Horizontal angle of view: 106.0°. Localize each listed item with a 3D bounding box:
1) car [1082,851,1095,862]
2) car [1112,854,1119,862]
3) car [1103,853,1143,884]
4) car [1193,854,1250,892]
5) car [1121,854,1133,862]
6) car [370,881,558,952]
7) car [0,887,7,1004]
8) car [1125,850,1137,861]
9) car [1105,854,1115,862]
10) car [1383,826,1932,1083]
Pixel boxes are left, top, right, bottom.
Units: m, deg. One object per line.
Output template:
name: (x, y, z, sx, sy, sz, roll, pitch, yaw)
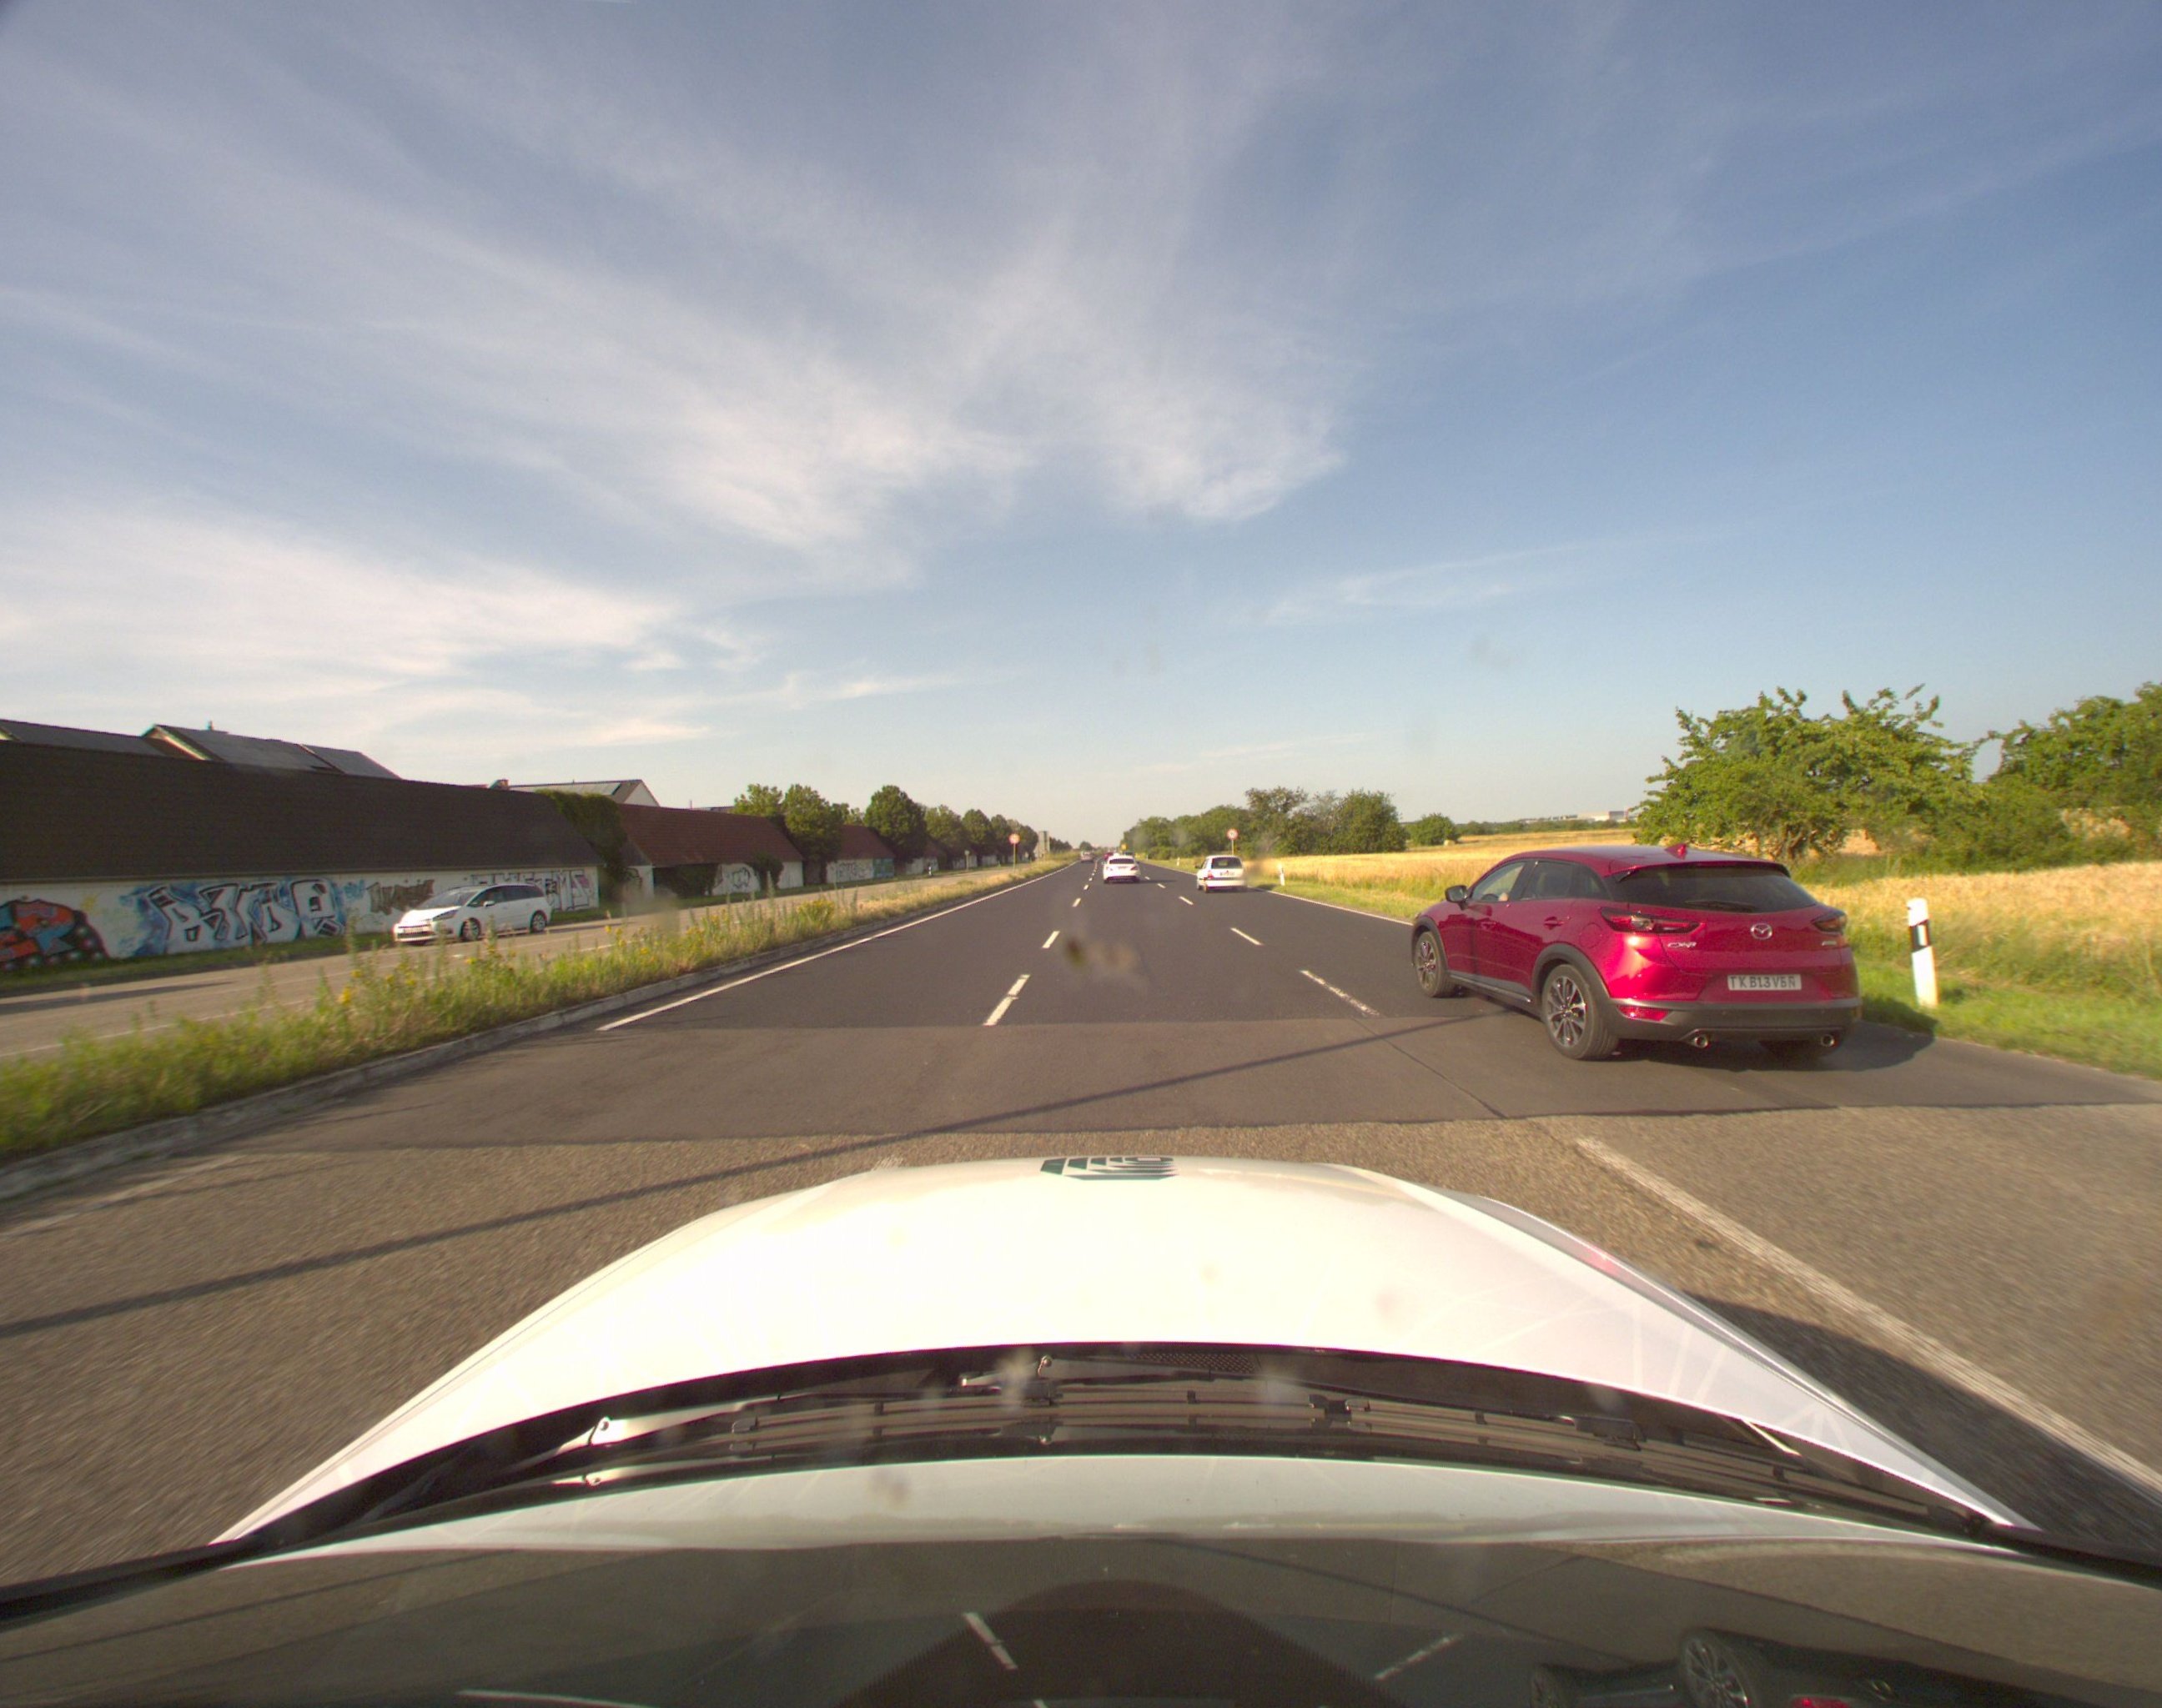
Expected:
car: (1.136, 0.384, 127.972, 1.751, 1.618, 4.004, -1, -1, 4)
car: (8.685, 0.920, 204.996, 1.795, 1.904, 3.562, -1, -1, 3)
car: (2.193, 0.736, 42.812, 1.986, 1.516, 4.002, -1, -1, 2)
car: (5.418, 0.720, 31.785, 1.611, 1.387, 3.952, -1, -1, 2)
car: (9.379, 0.820, 165.851, 1.987, 1.585, 4.282, -1, -1, -1)
car: (-18.500, 1.789, 24.786, 1.829, 1.707, 4.760, -5, -1, 2)
car: (-18.970, 1.555, 10.803, 1.899, 1.928, 5.460, -5, -1, 4)
car: (8.031, 0.285, 132.076, 1.821, 1.728, 4.001, -1, -1, 2)
car: (5.480, 0.754, 153.109, 1.805, 1.436, 3.859, -1, -1, 1)
car: (4.276, 0.628, 7.127, 1.698, 1.506, 4.502, -1, -1, 2)
